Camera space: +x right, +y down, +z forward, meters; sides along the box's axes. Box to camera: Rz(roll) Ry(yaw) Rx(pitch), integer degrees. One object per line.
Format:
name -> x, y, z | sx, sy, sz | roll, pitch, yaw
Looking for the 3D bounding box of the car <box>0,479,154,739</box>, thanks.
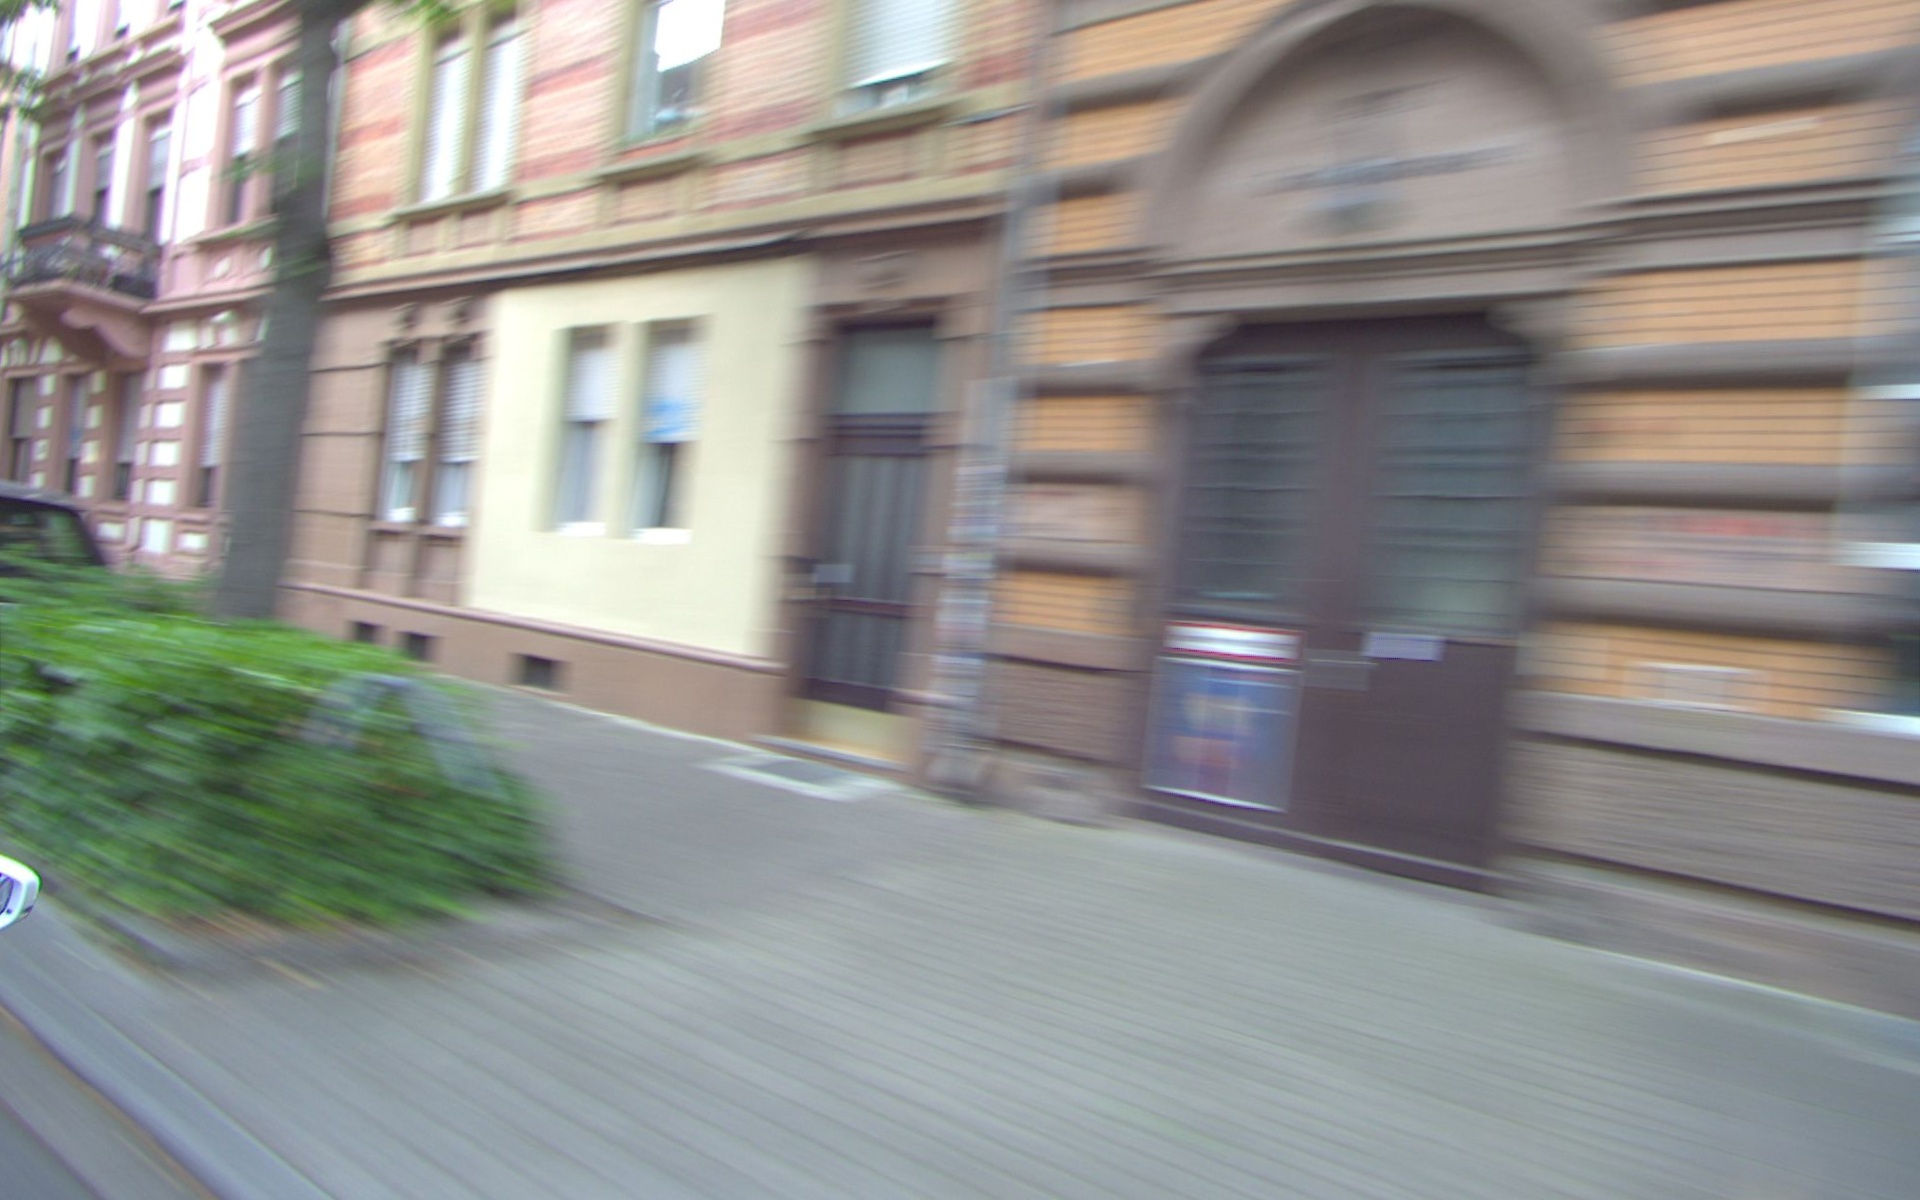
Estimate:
car -> -7.444, -0.115, 6.932 | 3.702, 1.578, 1.614 | 6, 0, 30
